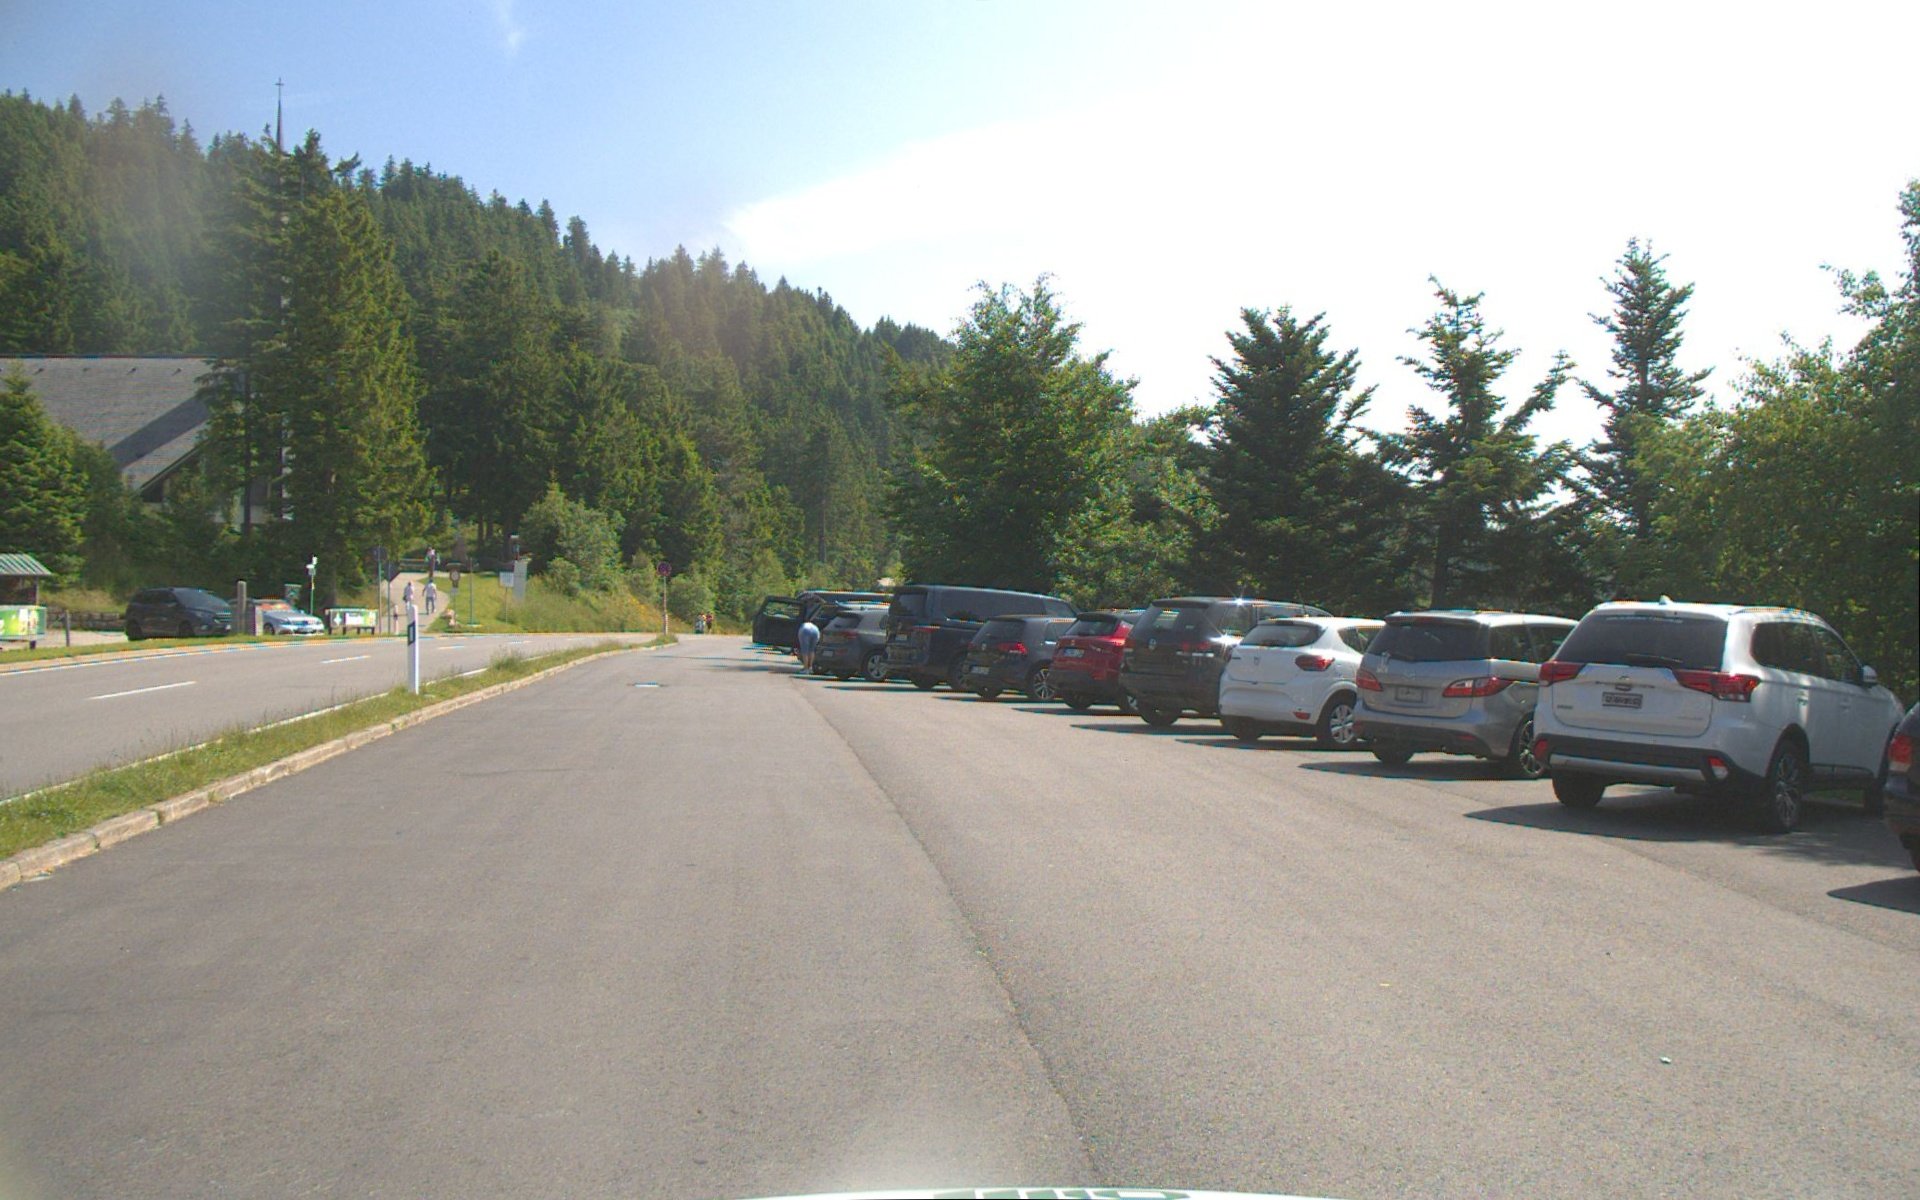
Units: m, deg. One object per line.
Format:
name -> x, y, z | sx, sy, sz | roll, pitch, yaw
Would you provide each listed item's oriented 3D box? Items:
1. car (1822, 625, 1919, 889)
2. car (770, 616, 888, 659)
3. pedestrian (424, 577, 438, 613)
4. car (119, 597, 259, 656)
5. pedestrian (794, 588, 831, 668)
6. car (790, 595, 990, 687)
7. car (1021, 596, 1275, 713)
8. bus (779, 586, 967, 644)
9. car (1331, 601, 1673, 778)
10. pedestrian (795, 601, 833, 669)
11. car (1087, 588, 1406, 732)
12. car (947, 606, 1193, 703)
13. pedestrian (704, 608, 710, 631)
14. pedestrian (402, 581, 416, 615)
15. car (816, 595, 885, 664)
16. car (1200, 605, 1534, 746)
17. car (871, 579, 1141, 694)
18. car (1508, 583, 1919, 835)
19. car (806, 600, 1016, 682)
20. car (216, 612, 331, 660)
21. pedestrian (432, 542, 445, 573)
car -> 7.335, 1.010, 10.321 | 4.006, 1.486, 1.871 | 3, -1, -36
car -> -5.221, 1.508, 66.056 | 4.395, 1.321, 1.571 | 6, -1, -24
pedestrian -> -26.897, -0.274, 84.134 | 0.641, 1.830, 0.641 | 0, 0, -14
car -> -22.491, 0.758, 48.218 | 4.122, 1.662, 1.784 | 0, -1, 33
pedestrian -> -3.354, 0.632, 37.599 | 0.571, 1.791, 0.629 | 4, -2, -23
car -> -1.546, 0.927, 37.032 | 3.954, 1.691, 1.976 | 6, -3, -35
car -> 2.989, 0.867, 25.743 | 1.833, 1.617, 3.971 | 2, -1, 45
bus -> -5.985, 1.007, 114.388 | 12.586, 3.640, 2.985 | 1, 1, 9
car -> 5.761, 0.914, 17.339 | 1.790, 1.576, 3.971 | 2, -1, 45
pedestrian -> -3.121, 0.744, 35.370 | 0.758, 1.427, 0.669 | 0, 1, -1
car -> 3.938, 0.826, 22.372 | 4.233, 1.724, 1.962 | 4, -1, -40
car -> 1.903, 0.934, 28.140 | 3.953, 1.439, 1.724 | 3, -1, -35
pedestrian -> -19.254, 1.482, 125.747 | 0.386, 1.778, 0.406 | 1, 0, 4
pedestrian -> -27.745, -0.111, 83.299 | 0.641, 1.696, 0.641 | 0, -2, -14
car -> -3.607, 0.937, 53.789 | 1.869, 2.006, 4.812 | 5, -1, -7
car -> 4.983, 0.930, 20.067 | 3.954, 1.502, 1.746 | 3, -1, -35
car -> 0.883, 0.701, 31.268 | 4.700, 1.912, 1.950 | 3, -1, -27
car -> 6.426, 0.825, 13.760 | 1.833, 1.724, 4.196 | 2, 0, 45
car -> -1.004, 0.858, 34.268 | 3.942, 1.468, 1.823 | 3, -1, -29
car -> -22.634, 1.170, 54.501 | 3.891, 1.466, 1.737 | 0, 1, 36
pedestrian -> -34.687, -2.800, 110.008 | 0.802, 2.048, 0.850 | -1, 1, -16
